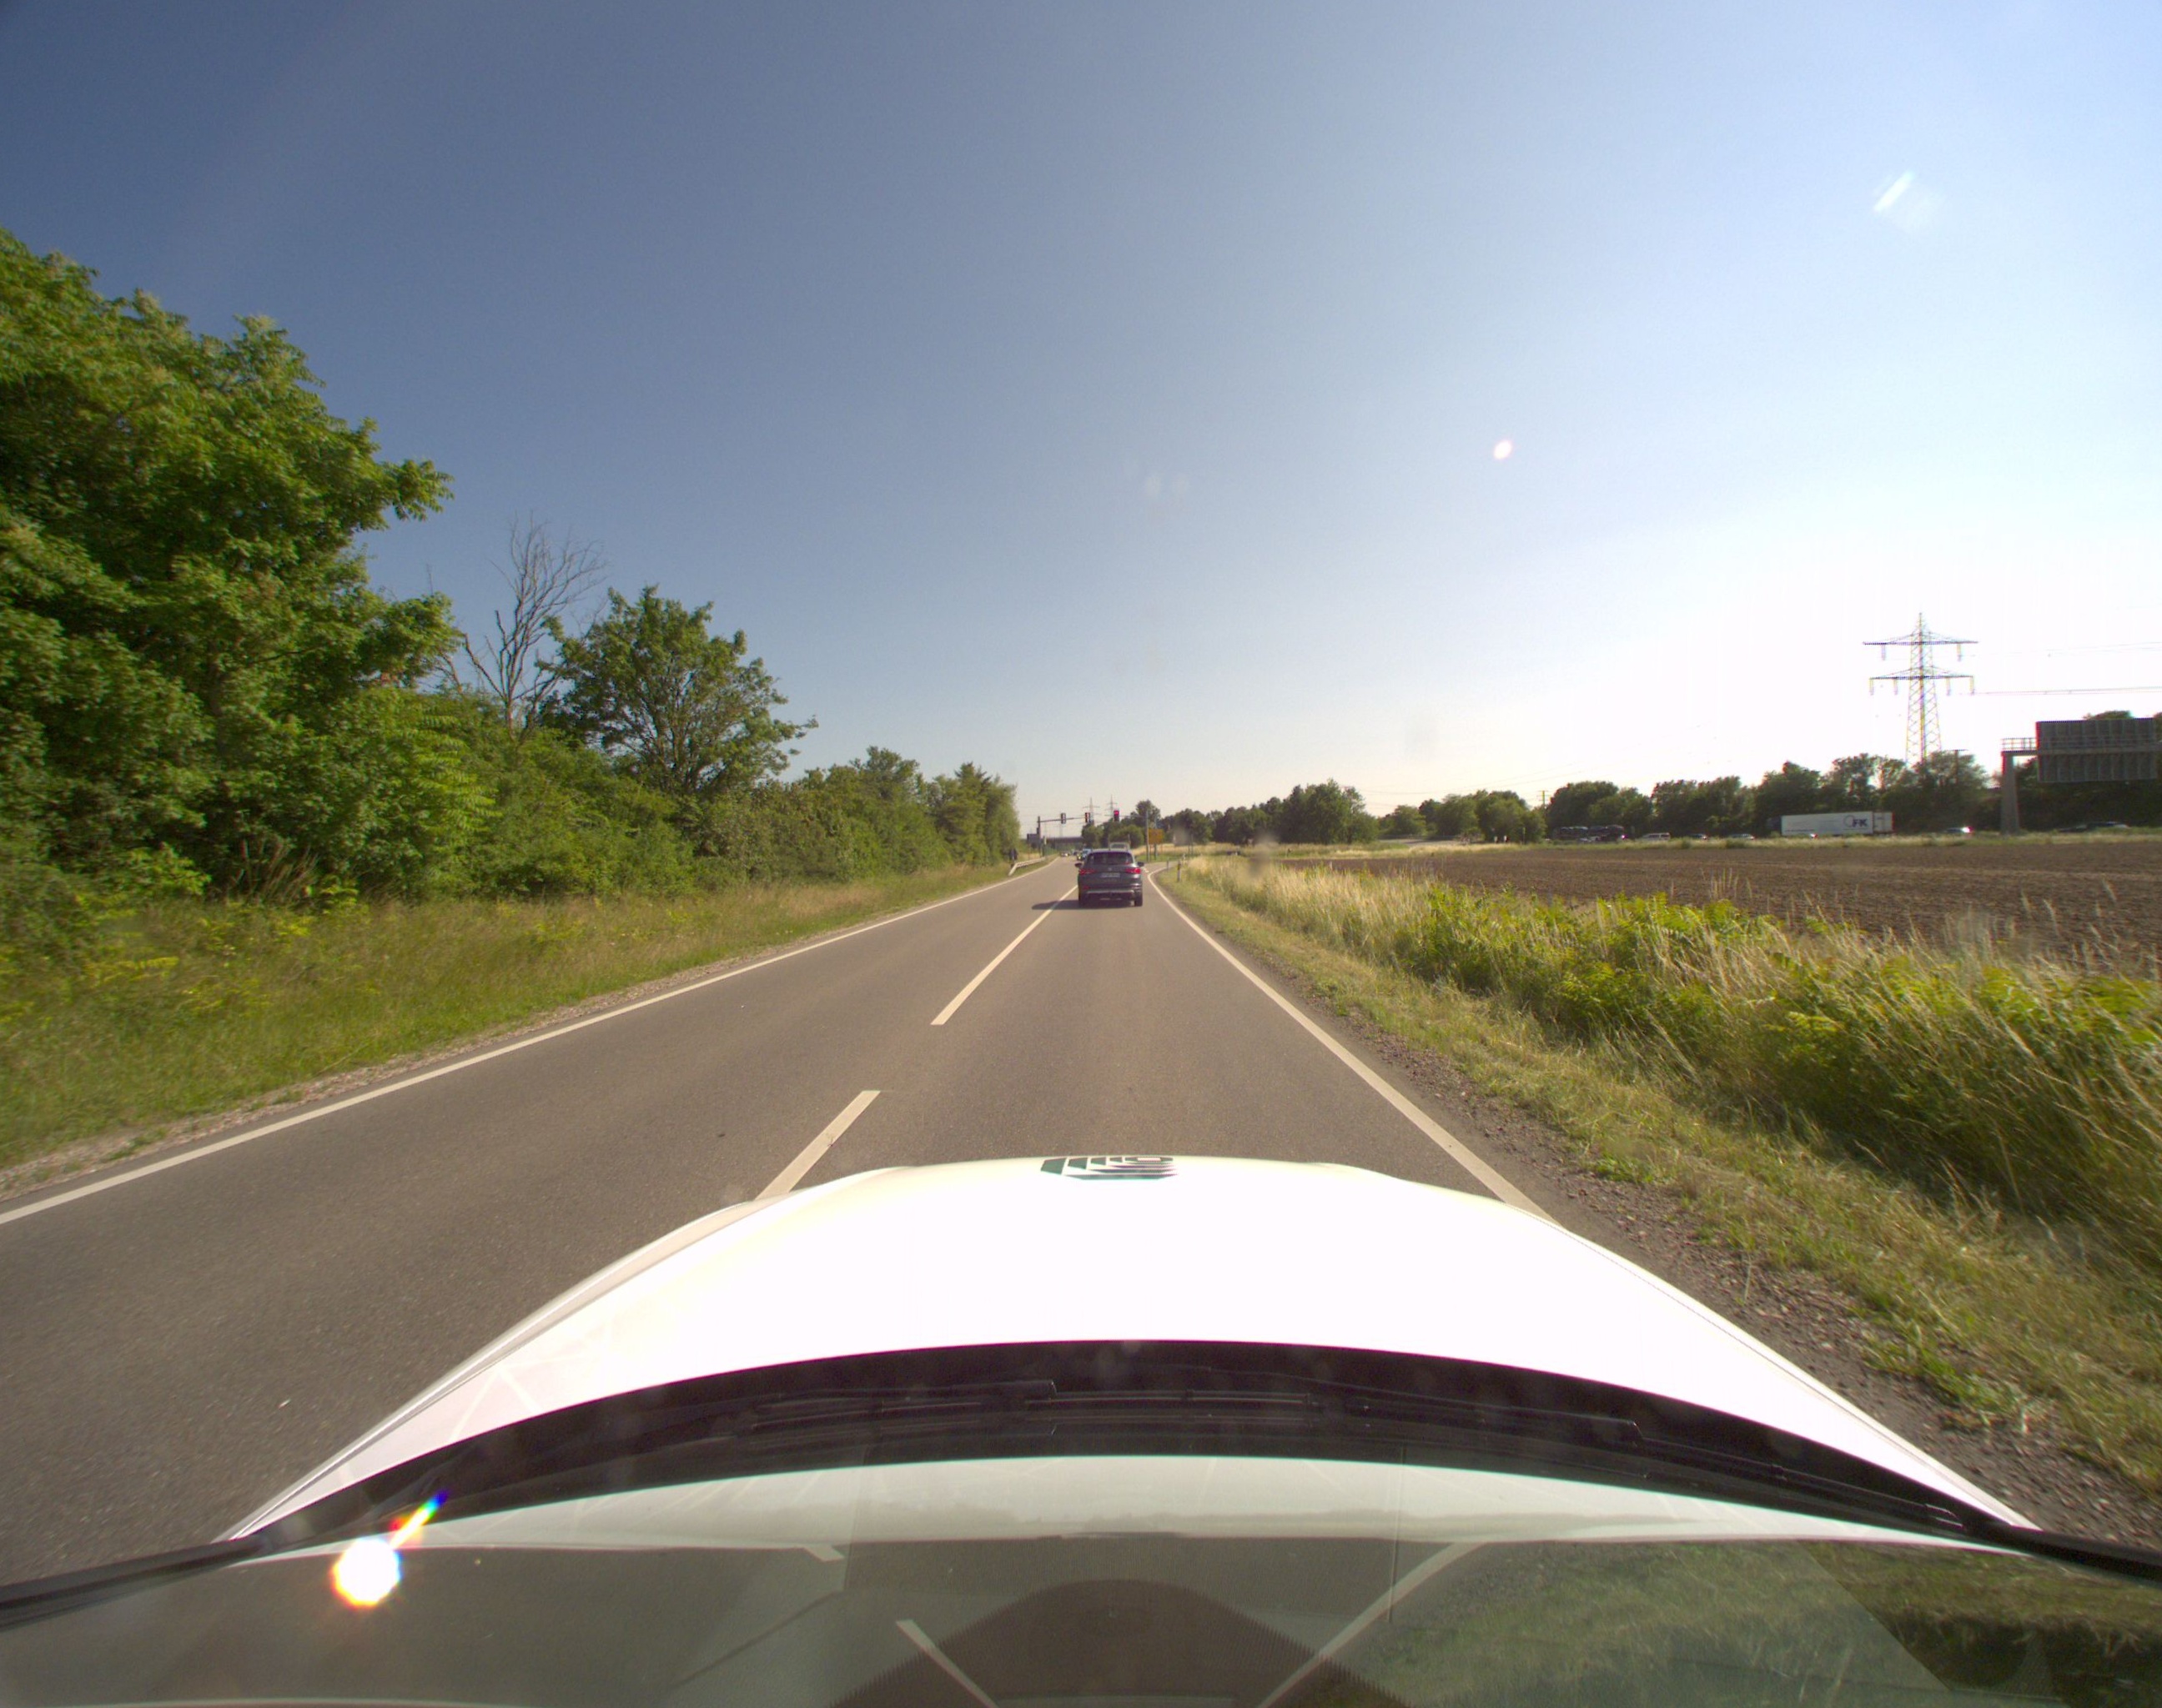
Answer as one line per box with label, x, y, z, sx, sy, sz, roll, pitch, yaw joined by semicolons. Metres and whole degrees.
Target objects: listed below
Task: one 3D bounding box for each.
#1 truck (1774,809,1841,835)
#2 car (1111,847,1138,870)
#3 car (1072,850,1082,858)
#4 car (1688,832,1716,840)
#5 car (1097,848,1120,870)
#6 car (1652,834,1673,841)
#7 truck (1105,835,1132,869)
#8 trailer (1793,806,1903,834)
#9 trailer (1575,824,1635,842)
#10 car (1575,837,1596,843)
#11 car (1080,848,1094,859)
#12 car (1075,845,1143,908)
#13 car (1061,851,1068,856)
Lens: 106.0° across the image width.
truck;103.790;-4.518;116.542;3.273;3.267;6.979;-2;0;0
car;3.046;0.290;58.214;1.779;1.543;4.001;-1;1;1
car;-0.696;0.012;140.191;1.679;1.380;3.531;-1;1;-2
car;97.251;-2.848;127.559;1.660;1.147;3.733;0;0;2
car;2.283;0.376;67.982;1.779;1.675;4.001;-1;1;1
car;96.356;-2.756;134.962;1.389;1.151;3.183;0;1;1
truck;3.473;-0.174;75.613;2.328;3.066;5.813;-1;0;3
trailer;103.712;-4.508;110.545;3.273;3.267;12.457;-2;0;1
trailer;103.209;-4.044;160.852;3.273;3.267;13.454;-2;1;1
car;96.190;-2.655;155.327;1.660;1.147;3.733;0;0;2
car;0.871;-0.038;120.151;1.811;1.540;3.997;-2;0;-2
car;0.800;0.565;23.632;1.779;1.629;4.002;-1;1;1
car;-4.462;-0.096;220.504;1.820;1.431;3.997;-2;0;-2
